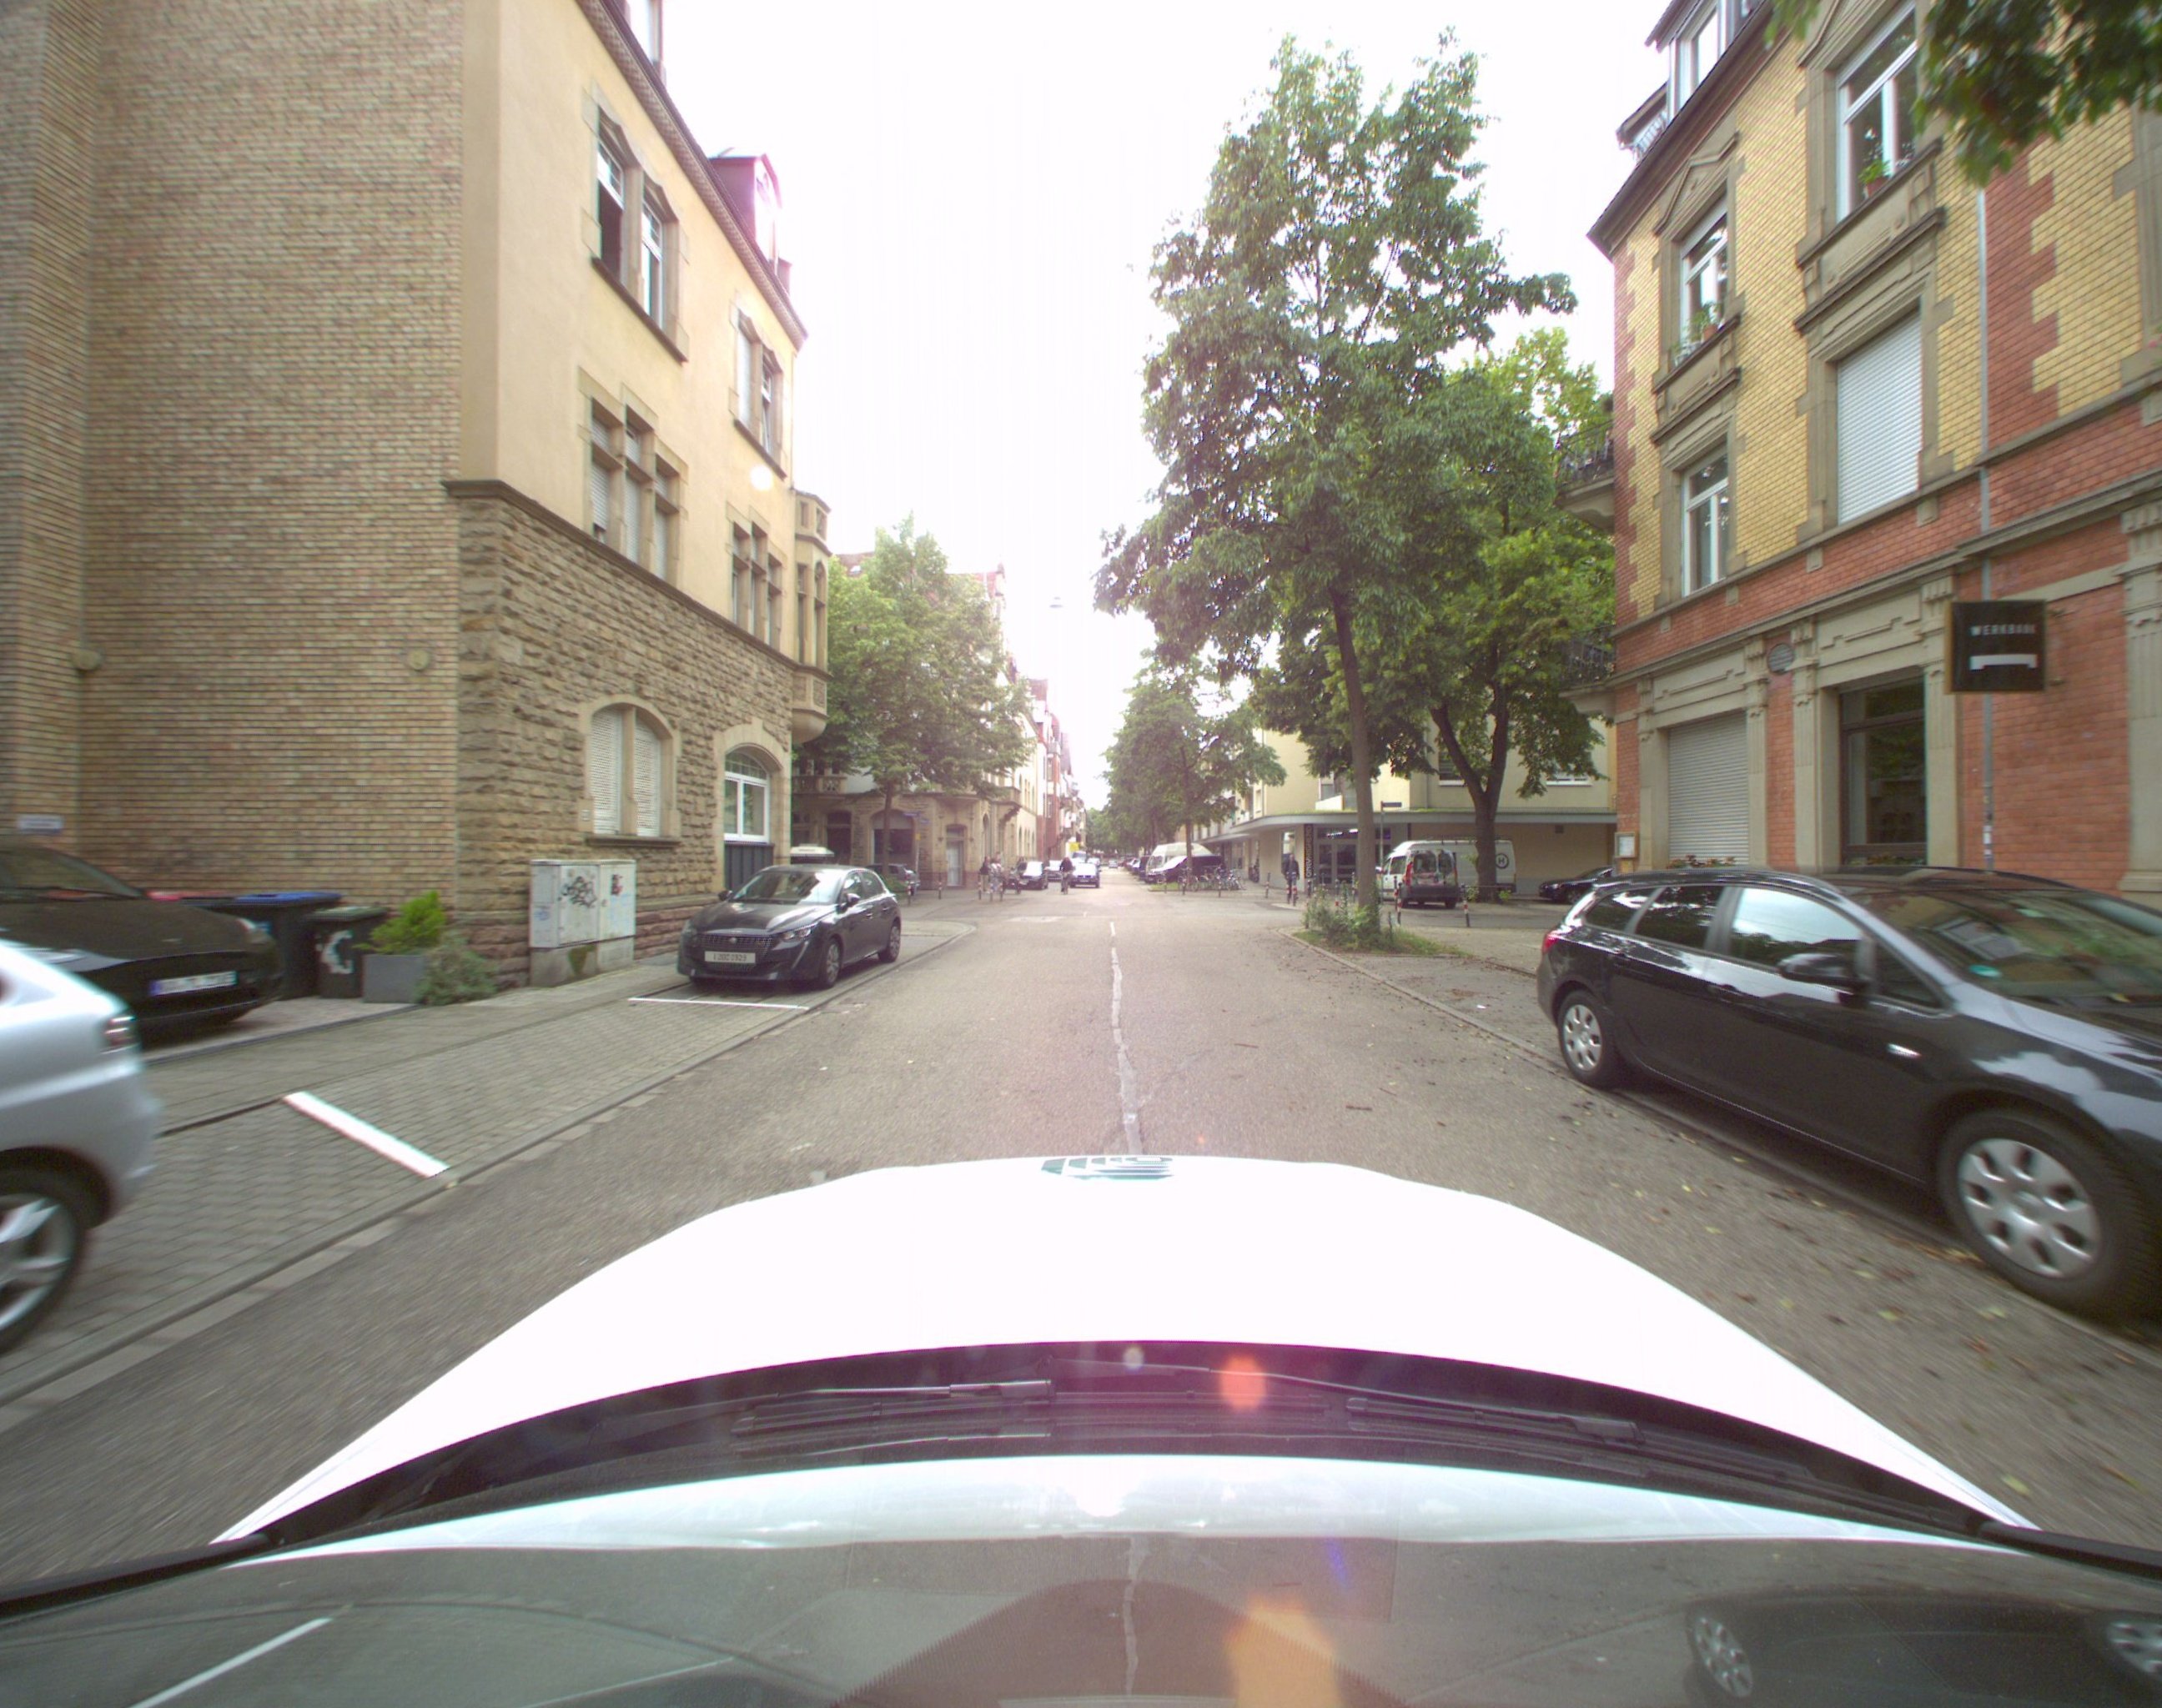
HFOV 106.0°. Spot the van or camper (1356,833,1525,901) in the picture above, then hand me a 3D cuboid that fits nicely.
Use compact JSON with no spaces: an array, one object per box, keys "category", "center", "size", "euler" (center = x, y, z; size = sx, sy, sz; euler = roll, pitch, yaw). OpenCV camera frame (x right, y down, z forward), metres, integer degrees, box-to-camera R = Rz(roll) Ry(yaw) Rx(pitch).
[{"category":"van or camper","center":[13.890,0.467,31.874],"size":[5.734,2.494,2.143],"euler":[0,2,11]}]

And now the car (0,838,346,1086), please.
[{"category":"car","center":[-8.271,0.698,6.091],"size":[3.971,1.564,1.769],"euler":[0,-1,2]}]

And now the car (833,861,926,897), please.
[{"category":"car","center":[-8.858,1.099,35.828],"size":[3.545,1.460,1.655],"euler":[-1,1,11]}]

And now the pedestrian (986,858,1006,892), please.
[{"category":"pedestrian","center":[-3.990,0.981,38.213],"size":[0.623,1.593,0.674],"euler":[0,-1,43]}]

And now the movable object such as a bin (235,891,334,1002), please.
[{"category":"movable object such as a bin","center":[-8.040,0.919,8.240],"size":[0.437,1.062,0.552],"euler":[0,-1,3]}]

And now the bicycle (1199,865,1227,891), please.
[{"category":"bicycle","center":[6.203,1.126,38.292],"size":[0.550,1.174,1.717],"euler":[0,0,-19]}]

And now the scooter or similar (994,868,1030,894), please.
[{"category":"scooter or similar","center":[-3.109,1.212,36.805],"size":[1.459,1.104,0.678],"euler":[2,0,13]}]

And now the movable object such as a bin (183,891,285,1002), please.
[{"category":"movable object such as a bin","center":[-8.571,0.917,8.259],"size":[0.437,1.062,0.552],"euler":[0,-1,3]}]

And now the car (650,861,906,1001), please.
[{"category":"car","center":[-3.681,0.844,10.714],"size":[1.720,1.434,3.884],"euler":[1,0,3]}]

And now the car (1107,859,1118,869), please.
[{"category":"car","center":[6.071,1.953,155.687],"size":[1.985,1.794,4.003],"euler":[1,-2,3]}]

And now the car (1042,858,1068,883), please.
[{"category":"car","center":[-1.795,1.137,56.737],"size":[1.640,1.570,2.958],"euler":[1,0,1]}]

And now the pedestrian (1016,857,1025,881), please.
[{"category":"pedestrian","center":[-3.811,0.927,51.195],"size":[0.513,1.518,0.547],"euler":[0,-1,2]}]

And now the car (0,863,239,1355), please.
[{"category":"car","center":[-4.022,0.756,1.161],"size":[1.583,1.434,3.810],"euler":[1,0,1]}]

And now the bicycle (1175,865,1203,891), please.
[{"category":"bicycle","center":[5.002,1.084,37.766],"size":[0.550,1.174,1.717],"euler":[0,0,-19]}]

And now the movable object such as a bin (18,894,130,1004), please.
[{"category":"movable object such as a bin","center":[-10.260,0.950,8.310],"size":[0.437,1.062,0.552],"euler":[0,-1,3]}]

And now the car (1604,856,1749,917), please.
[{"category":"car","center":[16.811,0.856,22.975],"size":[3.960,1.581,1.671],"euler":[0,1,-26]}]

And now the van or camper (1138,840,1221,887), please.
[{"category":"van or camper","center":[5.737,0.521,47.207],"size":[4.611,2.596,1.892],"euler":[0,-1,-31]}]

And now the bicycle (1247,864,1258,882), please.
[{"category":"bicycle","center":[10.682,1.177,50.754],"size":[0.482,1.090,1.703],"euler":[0,-1,4]}]

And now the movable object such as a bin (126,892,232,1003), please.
[{"category":"movable object such as a bin","center":[-9.173,0.934,8.297],"size":[0.437,1.062,0.552],"euler":[0,-1,3]}]

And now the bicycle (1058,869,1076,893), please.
[{"category":"bicycle","center":[-0.634,1.216,37.409],"size":[0.631,1.094,1.801],"euler":[0,-1,4]}]

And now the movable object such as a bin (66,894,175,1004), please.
[{"category":"movable object such as a bin","center":[-9.760,0.950,8.292],"size":[0.437,1.062,0.552],"euler":[0,-1,3]}]

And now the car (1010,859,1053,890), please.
[{"category":"car","center":[-2.494,1.062,41.927],"size":[1.702,1.495,4.003],"euler":[1,-2,4]}]

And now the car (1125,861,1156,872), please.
[{"category":"car","center":[8.406,1.737,115.401],"size":[4.034,1.559,1.867],"euler":[0,-1,-29]}]

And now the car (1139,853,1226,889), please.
[{"category":"car","center":[5.525,0.914,44.292],"size":[4.350,1.854,1.896],"euler":[0,-1,-23]}]

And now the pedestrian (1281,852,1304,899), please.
[{"category":"pedestrian","center":[8.201,0.830,31.532],"size":[0.775,1.797,0.510],"euler":[0,-1,4]}]

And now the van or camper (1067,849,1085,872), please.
[{"category":"van or camper","center":[-0.549,0.763,102.923],"size":[2.000,2.651,5.320],"euler":[0,2,2]}]

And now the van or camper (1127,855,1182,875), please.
[{"category":"van or camper","center":[7.401,1.076,81.975],"size":[5.031,1.869,2.109],"euler":[-2,-1,-26]}]

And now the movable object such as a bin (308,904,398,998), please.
[{"category":"movable object such as a bin","center":[-7.482,0.987,8.388],"size":[0.413,0.903,0.552],"euler":[0,-1,3]}]

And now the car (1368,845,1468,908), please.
[{"category":"car","center":[10.456,0.668,25.567],"size":[1.762,1.819,4.005],"euler":[0,0,5]}]

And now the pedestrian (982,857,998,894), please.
[{"category":"pedestrian","center":[-4.139,0.956,36.863],"size":[0.524,1.643,0.530],"euler":[1,-1,14]}]

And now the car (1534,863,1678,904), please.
[{"category":"car","center":[19.612,1.083,30.619],"size":[4.138,1.428,1.914],"euler":[0,-1,14]}]

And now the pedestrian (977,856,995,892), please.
[{"category":"pedestrian","center":[-4.380,0.900,37.521],"size":[0.612,1.643,0.606],"euler":[0,-1,14]}]

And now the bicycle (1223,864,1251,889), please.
[{"category":"bicycle","center":[7.433,1.066,38.939],"size":[0.550,1.174,1.686],"euler":[0,0,-19]}]

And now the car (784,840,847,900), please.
[{"category":"car","center":[-9.339,0.554,28.890],"size":[1.830,1.968,3.943],"euler":[0,-1,-14]}]

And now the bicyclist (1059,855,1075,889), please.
[{"category":"bicyclist","center":[-0.640,0.823,37.416],"size":[0.645,1.538,0.677],"euler":[-1,-1,4]}]

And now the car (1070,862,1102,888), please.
[{"category":"car","center":[0.323,1.193,46.858],"size":[1.701,1.413,3.854],"euler":[-1,-2,3]}]

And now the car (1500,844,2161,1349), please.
[{"category":"car","center":[4.187,0.729,4.283],"size":[1.757,1.486,4.482],"euler":[-2,0,2]}]

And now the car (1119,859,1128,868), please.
[{"category":"car","center":[9.646,2.165,185.886],"size":[1.986,2.014,4.001],"euler":[3,0,2]}]

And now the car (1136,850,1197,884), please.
[{"category":"car","center":[5.897,0.860,55.792],"size":[2.040,2.196,4.426],"euler":[-1,-1,39]}]

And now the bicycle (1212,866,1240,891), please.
[{"category":"bicycle","center":[6.850,1.149,38.576],"size":[0.550,1.174,1.717],"euler":[0,0,-19]}]
